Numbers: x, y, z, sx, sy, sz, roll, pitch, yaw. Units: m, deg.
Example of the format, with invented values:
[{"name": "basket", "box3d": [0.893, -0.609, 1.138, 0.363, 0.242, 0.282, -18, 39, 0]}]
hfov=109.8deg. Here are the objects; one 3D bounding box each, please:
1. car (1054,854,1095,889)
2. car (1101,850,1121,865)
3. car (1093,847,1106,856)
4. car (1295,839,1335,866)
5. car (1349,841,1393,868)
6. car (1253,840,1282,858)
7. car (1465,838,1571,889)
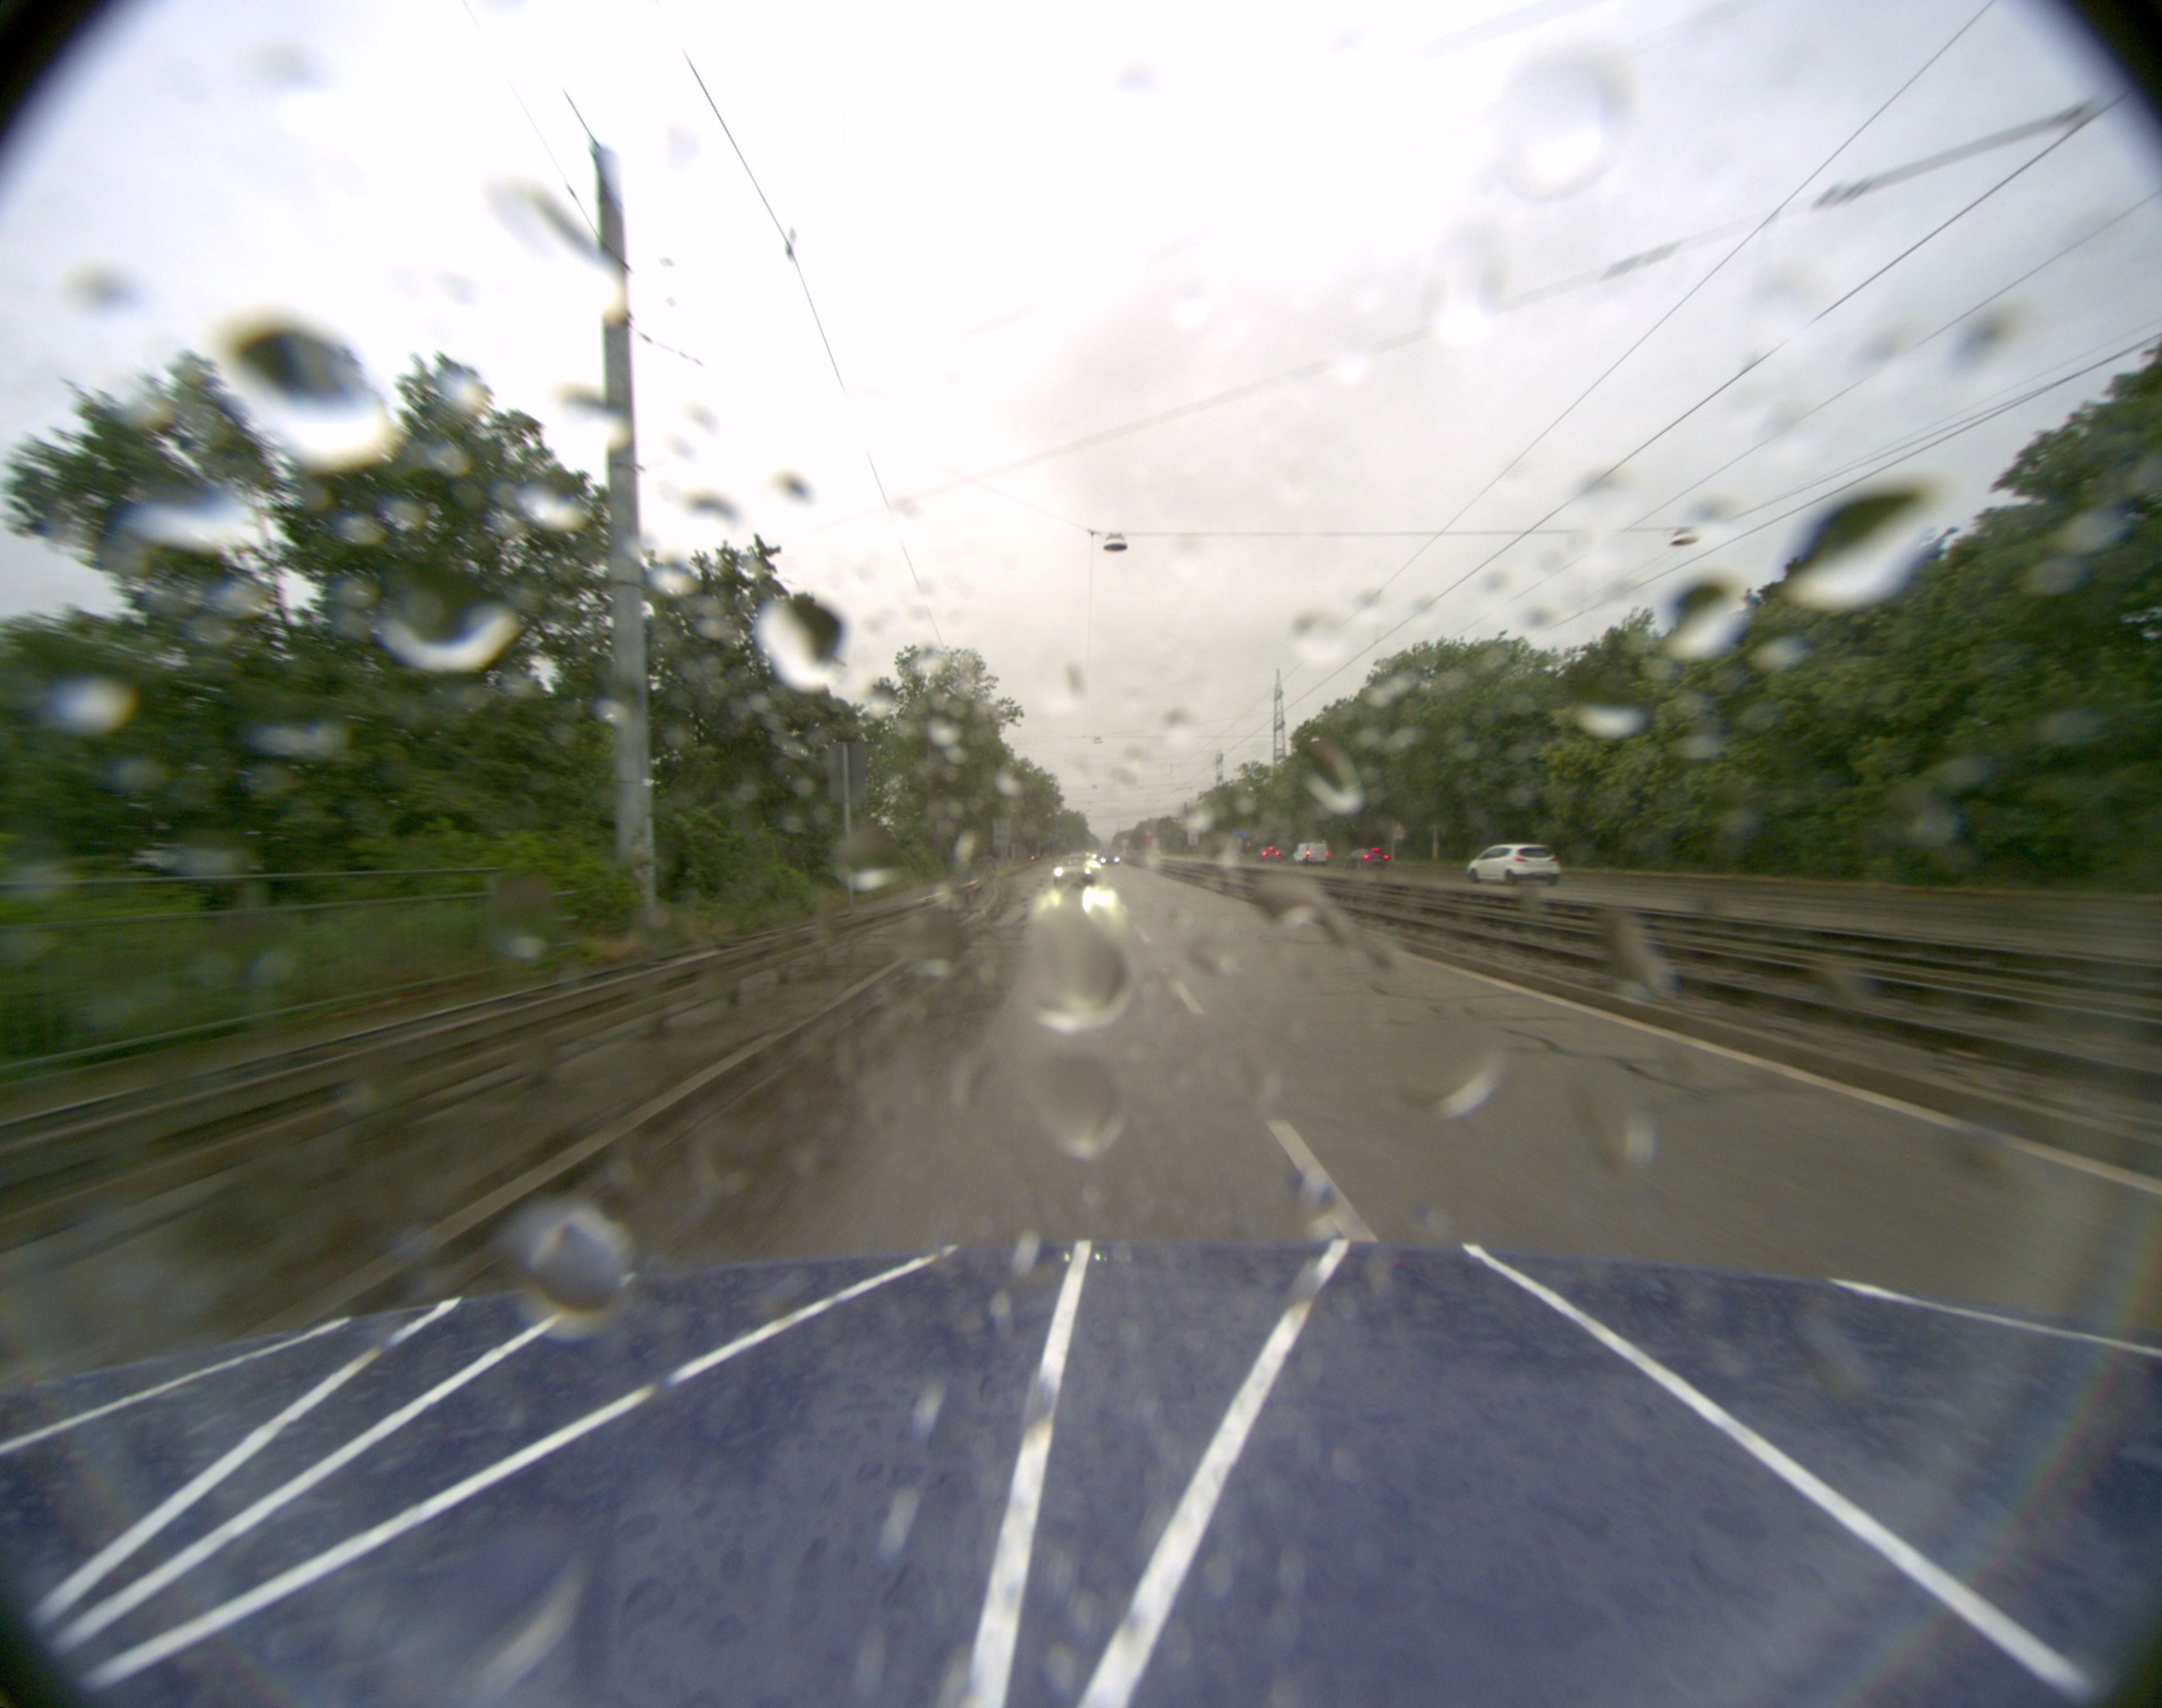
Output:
[{"name": "car", "box3d": [-0.260, 0.761, 34.835, 1.751, 1.412, 3.999, -1, 1, 1]}, {"name": "car", "box3d": [3.261, 0.360, 83.067, 1.971, 1.412, 3.999, -1, 1, 1]}, {"name": "car", "box3d": [2.992, -0.379, 121.039, 1.971, 1.412, 3.999, -1, 1, 1]}, {"name": "car", "box3d": [20.365, -0.150, 66.359, 2.190, 2.092, 4.145, -5, 1, 3]}, {"name": "car", "box3d": [19.666, 0.017, 51.691, 1.777, 1.621, 3.671, -5, 1, 5]}, {"name": "car", "box3d": [19.998, -0.537, 81.644, 2.190, 1.688, 4.145, -5, 1, 3]}, {"name": "car", "box3d": [16.202, 0.293, 28.409, 1.777, 1.621, 3.670, -5, 1, 1]}]
